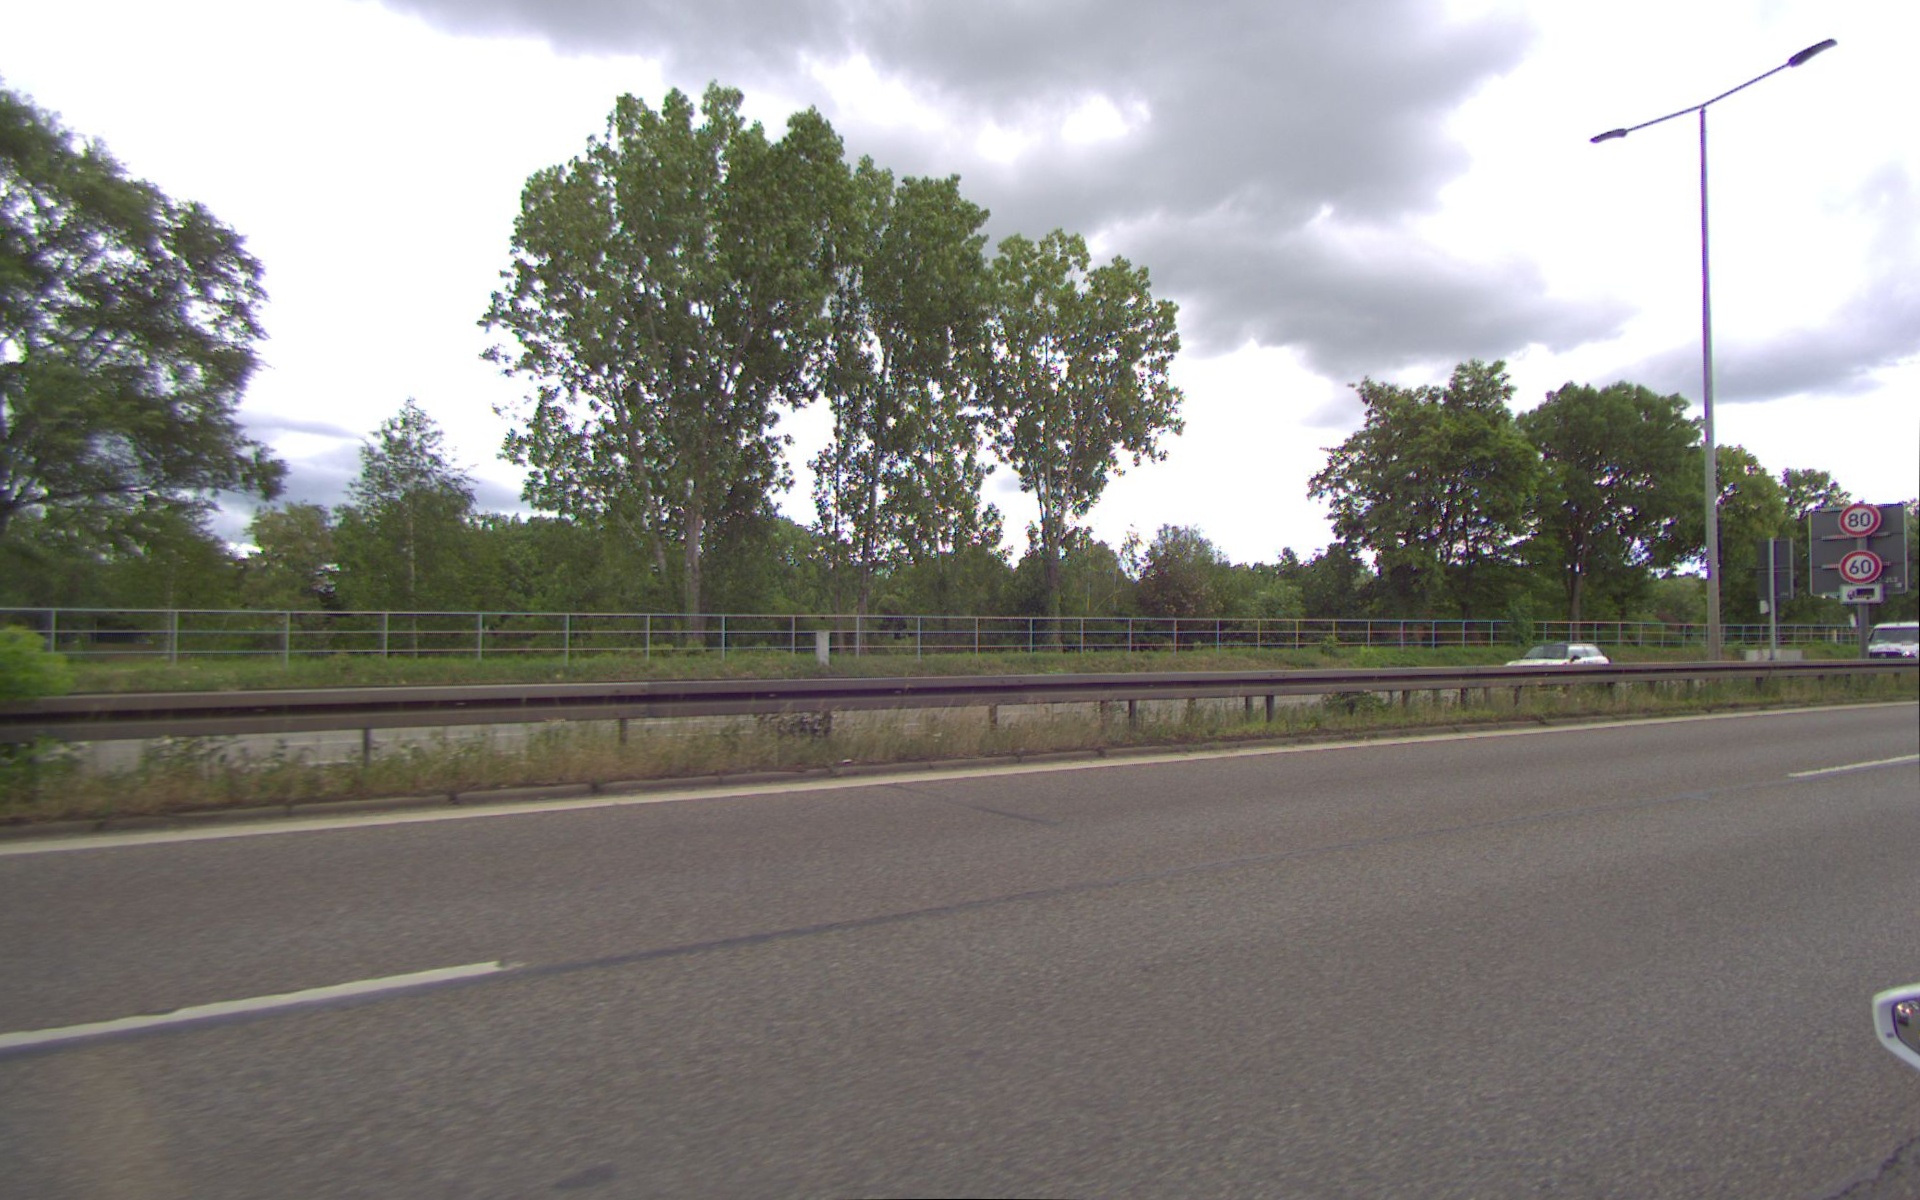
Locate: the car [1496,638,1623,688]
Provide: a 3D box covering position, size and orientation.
[{"bbox_3d":[18.465,1.895,30.909,3.942,1.417,1.651,1,-1,-30],"label":"car"}]

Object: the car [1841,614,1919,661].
[{"bbox_3d":[41.218,1.638,43.997,5.405,1.973,2.217,1,-2,-28],"label":"car"}]
